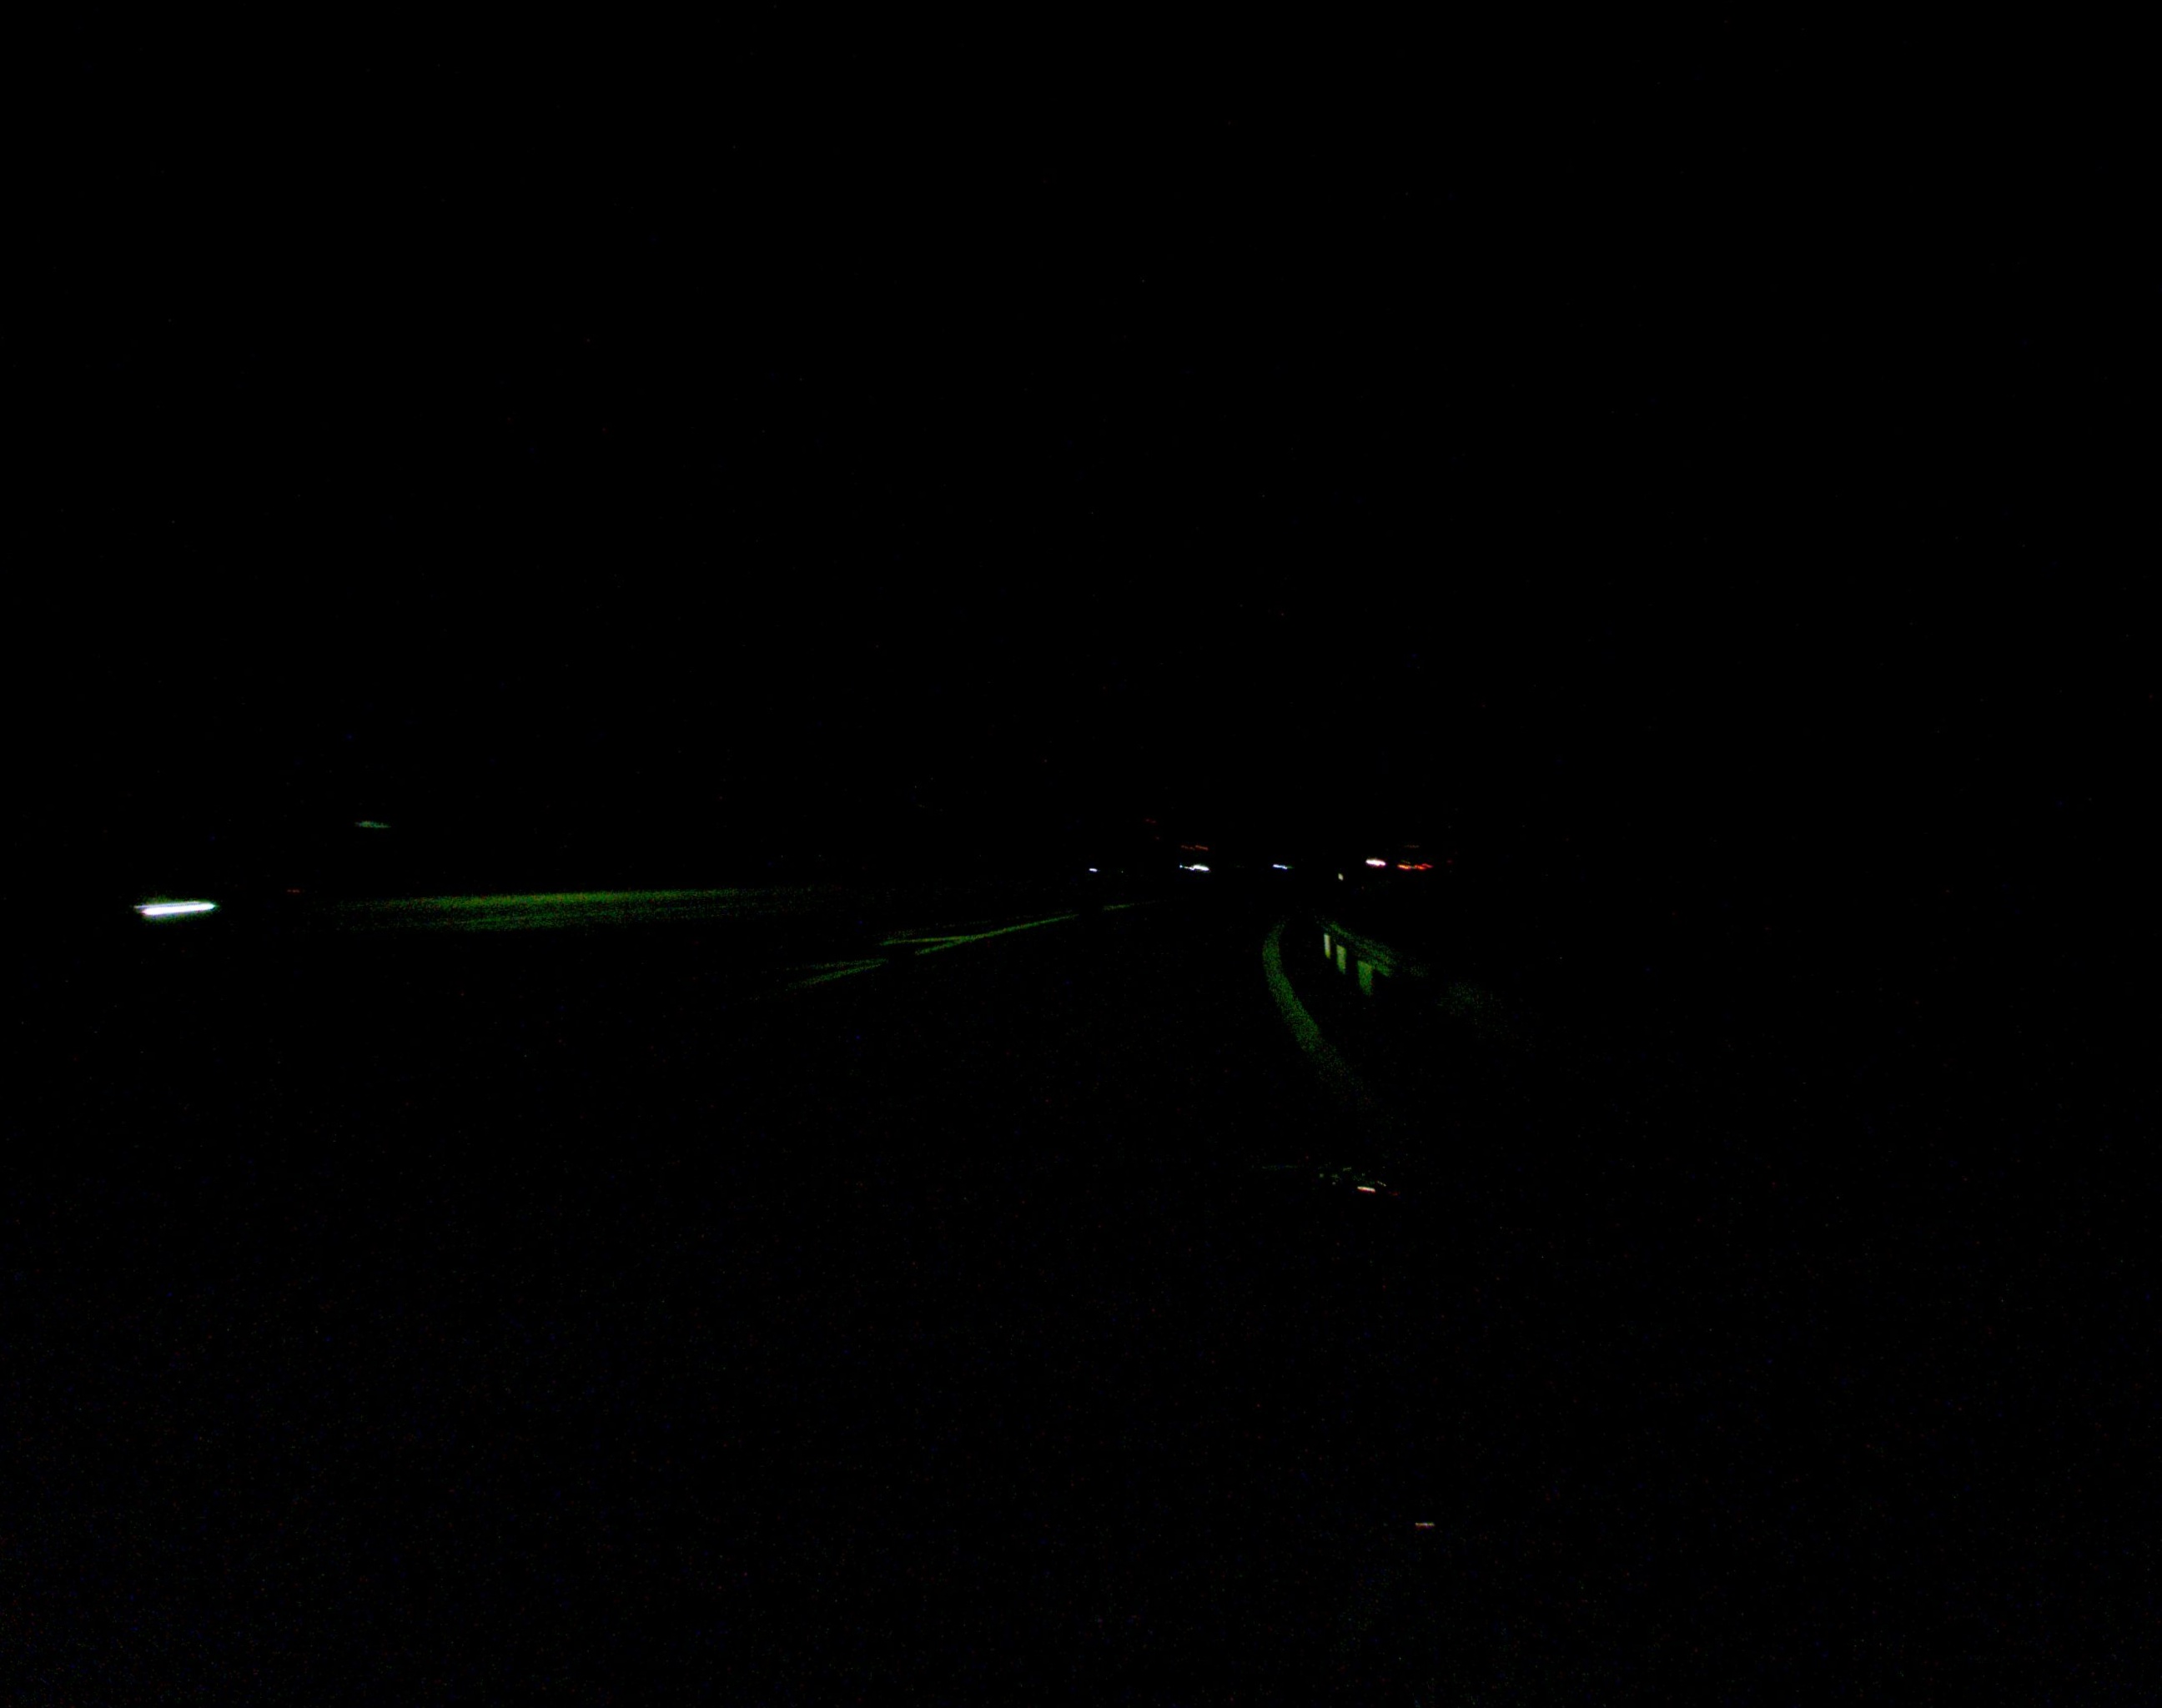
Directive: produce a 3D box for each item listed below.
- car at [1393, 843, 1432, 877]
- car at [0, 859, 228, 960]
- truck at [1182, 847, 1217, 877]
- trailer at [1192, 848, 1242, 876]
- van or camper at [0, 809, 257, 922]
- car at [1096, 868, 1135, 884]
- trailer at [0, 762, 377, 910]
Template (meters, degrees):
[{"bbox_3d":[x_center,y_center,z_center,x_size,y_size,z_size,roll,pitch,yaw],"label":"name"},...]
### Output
[{"bbox_3d":[52.748,0.969,129.417,5.234,5.092,12.543,0,-1,24],"label":"car"},{"bbox_3d":[-15.654,0.764,11.606,1.589,1.400,4.529,0,-1,28],"label":"car"},{"bbox_3d":[15.994,1.103,109.853,2.733,3.801,5.998,0,-1,28],"label":"truck"},{"bbox_3d":[19.633,1.238,116.772,2.733,3.801,13.841,0,-1,28],"label":"trailer"},{"bbox_3d":[-25.067,0.285,19.463,1.975,2.550,7.224,0,-2,25],"label":"van or camper"},{"bbox_3d":[3.300,2.079,77.432,1.975,1.424,4.396,0,-1,29],"label":"car"},{"bbox_3d":[-28.640,-0.425,22.484,2.733,3.816,13.838,0,-2,26],"label":"trailer"}]
